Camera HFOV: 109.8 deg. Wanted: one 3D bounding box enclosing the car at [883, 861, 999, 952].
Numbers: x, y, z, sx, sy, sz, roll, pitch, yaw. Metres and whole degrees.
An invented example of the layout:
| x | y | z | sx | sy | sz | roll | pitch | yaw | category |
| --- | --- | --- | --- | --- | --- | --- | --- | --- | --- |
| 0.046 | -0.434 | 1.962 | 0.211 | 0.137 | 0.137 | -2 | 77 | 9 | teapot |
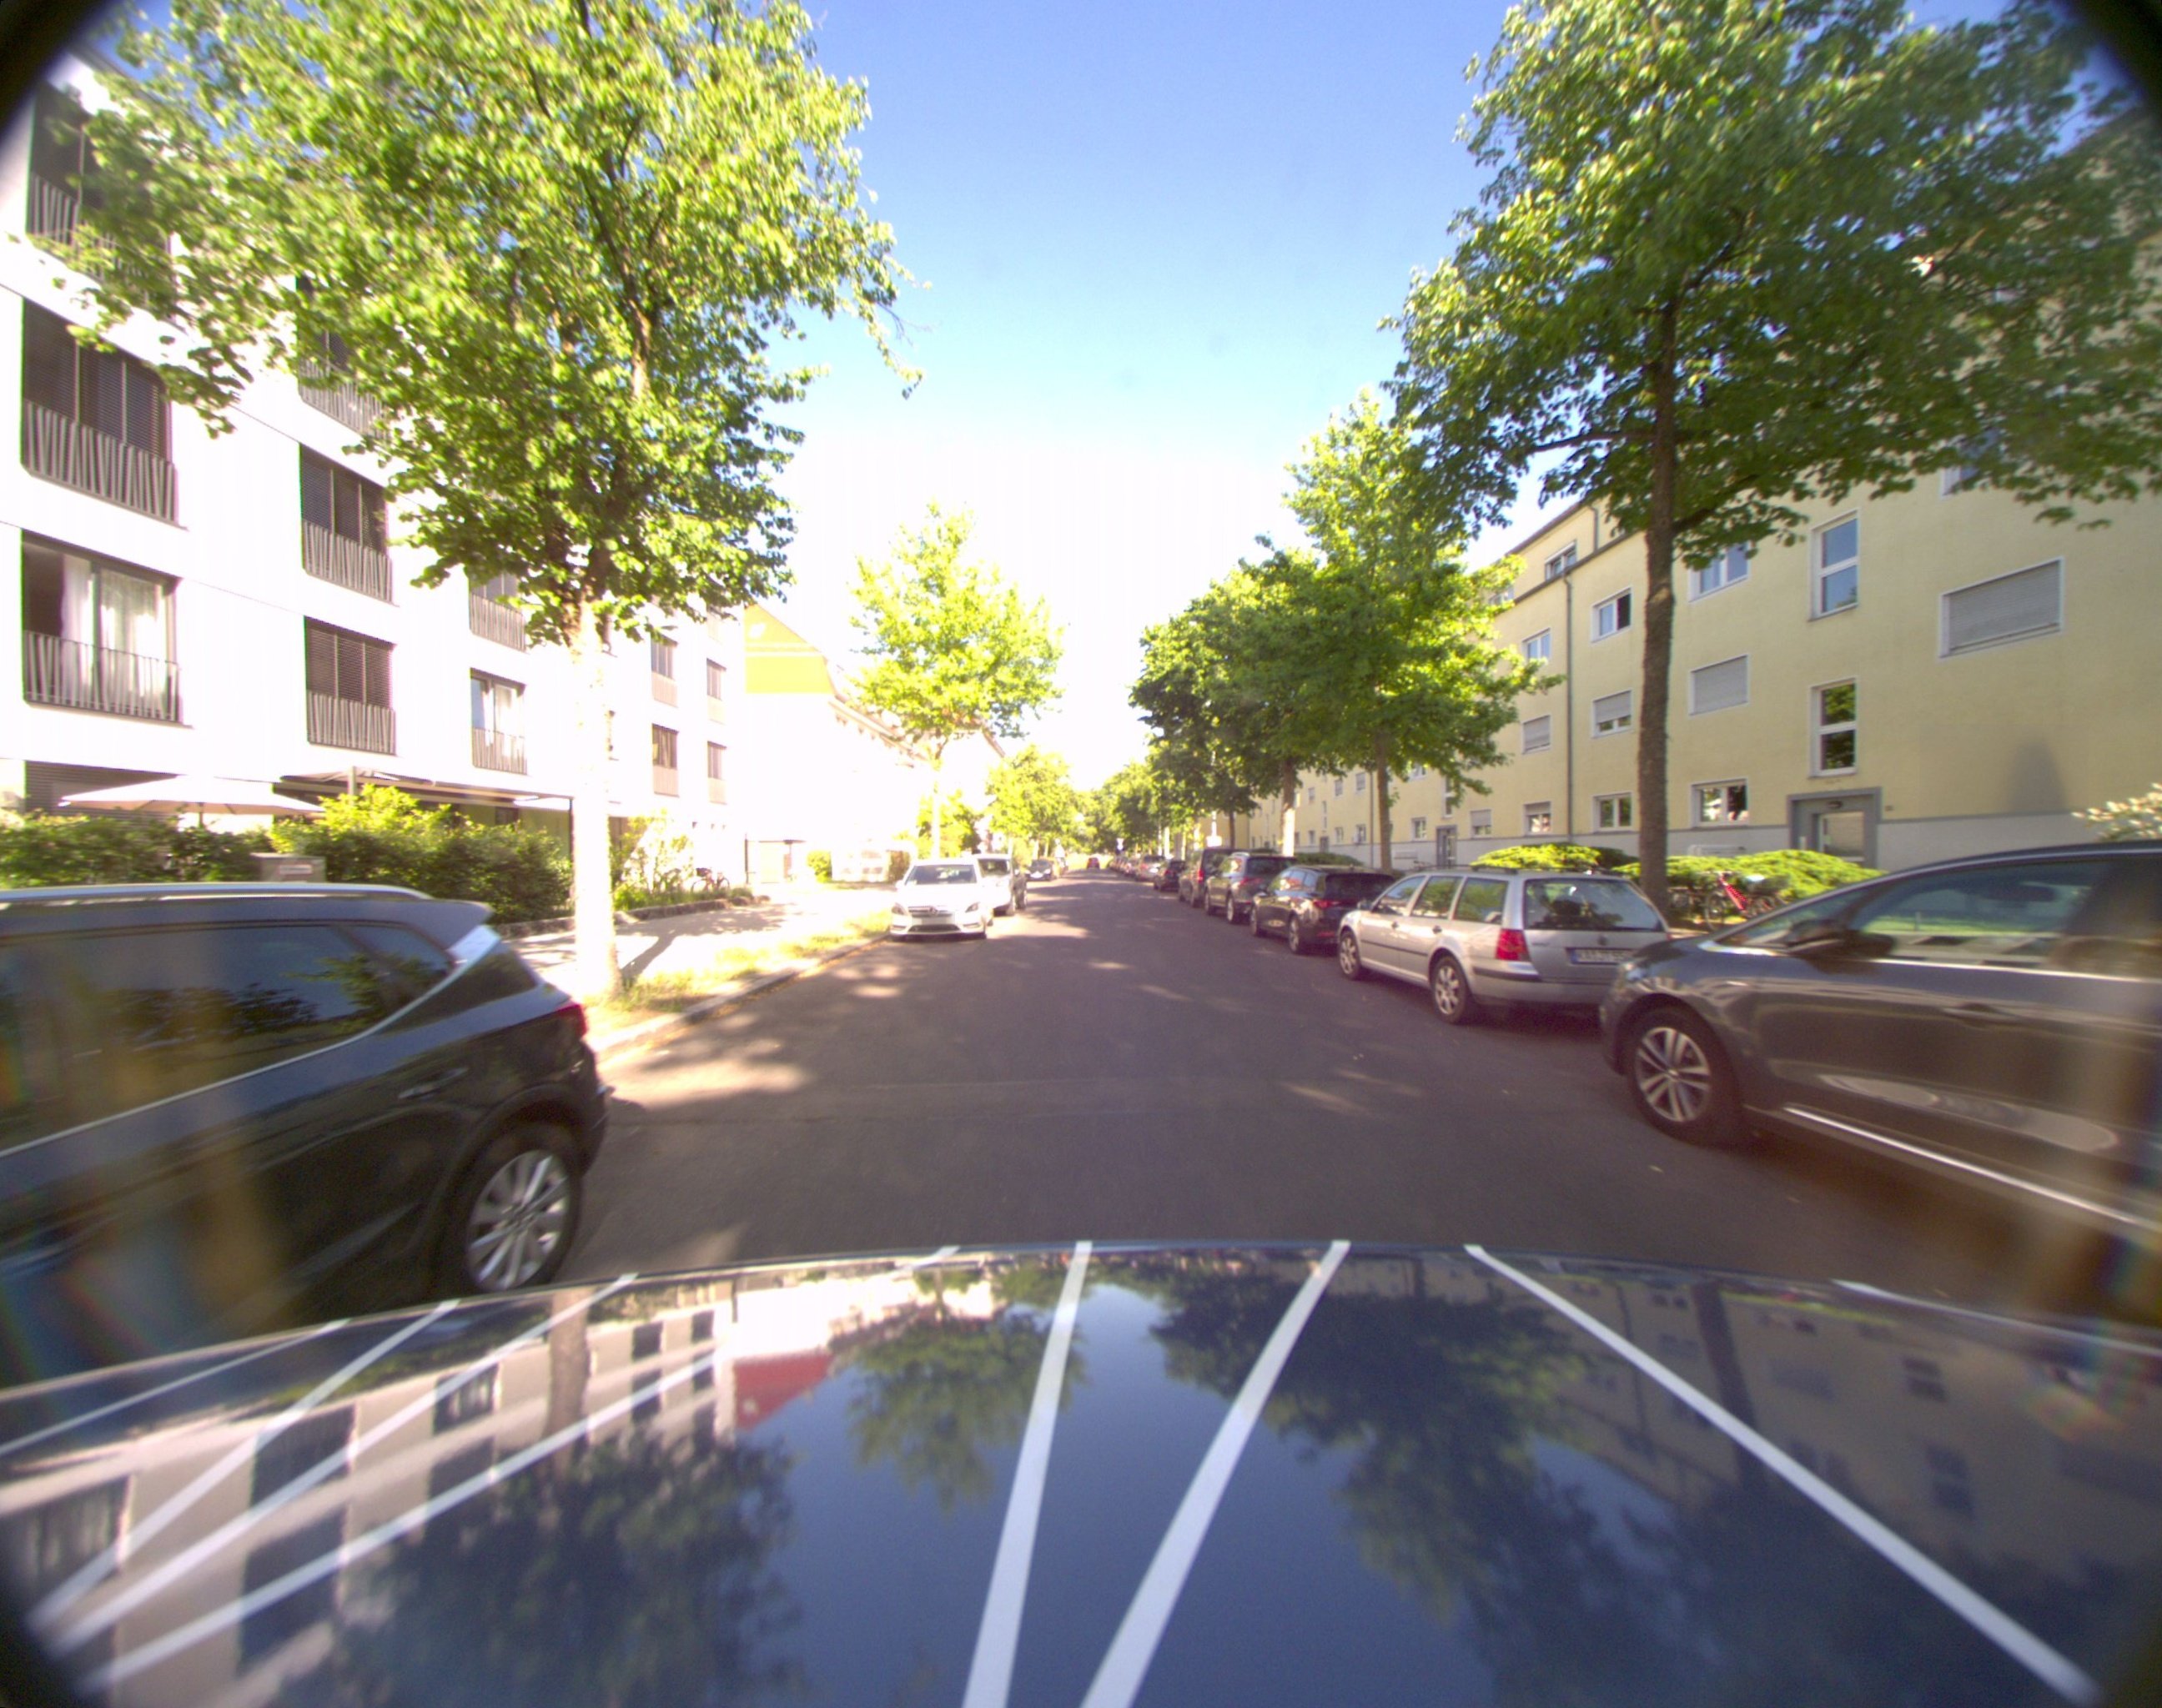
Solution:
| x | y | z | sx | sy | sz | roll | pitch | yaw | category |
| --- | --- | --- | --- | --- | --- | --- | --- | --- | --- |
| -2.702 | 0.933 | 15.656 | 1.786 | 1.509 | 4.685 | -1 | 0 | -4 | car |

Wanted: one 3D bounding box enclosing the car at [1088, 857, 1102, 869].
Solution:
| x | y | z | sx | sy | sz | roll | pitch | yaw | category |
| --- | --- | --- | --- | --- | --- | --- | --- | --- | --- |
| 1.721 | 1.091 | 93.409 | 1.665 | 1.456 | 3.447 | 0 | 0 | 2 | car |

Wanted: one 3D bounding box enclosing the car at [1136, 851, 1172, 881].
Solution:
| x | y | z | sx | sy | sz | roll | pitch | yaw | category |
| --- | --- | --- | --- | --- | --- | --- | --- | --- | --- |
| 4.453 | 0.710 | 46.601 | 1.864 | 1.718 | 4.000 | 1 | 0 | 1 | car |

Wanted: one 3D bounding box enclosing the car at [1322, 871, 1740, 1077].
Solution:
| x | y | z | sx | sy | sz | roll | pitch | yaw | category |
| --- | --- | --- | --- | --- | --- | --- | --- | --- | --- |
| 4.178 | 0.977 | 8.088 | 1.711 | 1.472 | 4.489 | 0 | 0 | -1 | car |

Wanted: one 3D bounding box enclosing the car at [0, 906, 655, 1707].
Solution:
| x | y | z | sx | sy | sz | roll | pitch | yaw | category |
| --- | --- | --- | --- | --- | --- | --- | --- | --- | --- |
| -2.839 | 1.010 | 1.262 | 1.722 | 1.507 | 4.345 | -1 | 0 | 1 | car |

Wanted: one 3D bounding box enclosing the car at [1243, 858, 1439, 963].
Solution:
| x | y | z | sx | sy | sz | roll | pitch | yaw | category |
| --- | --- | --- | --- | --- | --- | --- | --- | --- | --- |
| 4.203 | 0.822 | 13.109 | 1.798 | 1.443 | 4.489 | 0 | 0 | 0 | car |

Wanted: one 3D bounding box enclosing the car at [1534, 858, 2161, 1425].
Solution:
| x | y | z | sx | sy | sz | roll | pitch | yaw | category |
| --- | --- | --- | --- | --- | --- | --- | --- | --- | --- |
| 4.116 | 0.865 | 2.784 | 1.846 | 1.647 | 5.087 | 0 | 0 | 0 | car |

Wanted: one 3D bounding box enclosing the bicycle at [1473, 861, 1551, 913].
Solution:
| x | y | z | sx | sy | sz | roll | pitch | yaw | category |
| --- | --- | --- | --- | --- | --- | --- | --- | --- | --- |
| 10.571 | 0.777 | 18.732 | 0.596 | 1.183 | 2.260 | 0 | 0 | -1 | bicycle |

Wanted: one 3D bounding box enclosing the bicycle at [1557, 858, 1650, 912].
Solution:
| x | y | z | sx | sy | sz | roll | pitch | yaw | category |
| --- | --- | --- | --- | --- | --- | --- | --- | --- | --- |
| 12.310 | 0.730 | 17.920 | 1.826 | 1.218 | 0.517 | -1 | 1 | 1 | bicycle |

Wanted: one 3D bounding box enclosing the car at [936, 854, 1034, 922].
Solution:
| x | y | z | sx | sy | sz | roll | pitch | yaw | category |
| --- | --- | --- | --- | --- | --- | --- | --- | --- | --- |
| -2.553 | 0.858 | 21.420 | 1.901 | 1.638 | 4.862 | -1 | 0 | 2 | car |

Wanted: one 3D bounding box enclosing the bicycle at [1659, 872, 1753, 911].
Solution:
| x | y | z | sx | sy | sz | roll | pitch | yaw | category |
| --- | --- | --- | --- | --- | --- | --- | --- | --- | --- |
| 14.584 | 0.864 | 17.755 | 1.713 | 0.864 | 0.585 | -1 | 1 | 1 | bicycle |

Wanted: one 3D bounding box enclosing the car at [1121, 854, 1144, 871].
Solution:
| x | y | z | sx | sy | sz | roll | pitch | yaw | category |
| --- | --- | --- | --- | --- | --- | --- | --- | --- | --- |
| 4.835 | 0.792 | 71.756 | 1.805 | 1.470 | 3.999 | 0 | 0 | -3 | car |

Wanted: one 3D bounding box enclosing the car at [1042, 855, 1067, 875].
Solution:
| x | y | z | sx | sy | sz | roll | pitch | yaw | category |
| --- | --- | --- | --- | --- | --- | --- | --- | --- | --- |
| -2.034 | 0.817 | 58.713 | 1.670 | 1.456 | 3.674 | 0 | 0 | 2 | car |

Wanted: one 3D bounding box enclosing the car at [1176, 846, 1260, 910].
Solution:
| x | y | z | sx | sy | sz | roll | pitch | yaw | category |
| --- | --- | --- | --- | --- | --- | --- | --- | --- | --- |
| 4.244 | 0.679 | 24.235 | 1.798 | 1.839 | 4.866 | 0 | 0 | 0 | car |

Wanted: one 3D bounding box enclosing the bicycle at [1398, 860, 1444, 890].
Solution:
| x | y | z | sx | sy | sz | roll | pitch | yaw | category |
| --- | --- | --- | --- | --- | --- | --- | --- | --- | --- |
| 11.070 | 0.675 | 24.815 | 0.596 | 0.911 | 1.903 | 0 | 0 | -1 | bicycle |

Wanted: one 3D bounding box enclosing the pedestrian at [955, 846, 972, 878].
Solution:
| x | y | z | sx | sy | sz | roll | pitch | yaw | category |
| --- | --- | --- | --- | --- | --- | --- | --- | --- | --- |
| -7.499 | 0.492 | 48.687 | 0.907 | 2.002 | 1.006 | 0 | 1 | 1 | pedestrian |

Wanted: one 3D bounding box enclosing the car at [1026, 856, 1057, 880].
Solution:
| x | y | z | sx | sy | sz | roll | pitch | yaw | category |
| --- | --- | --- | --- | --- | --- | --- | --- | --- | --- |
| -2.481 | 0.888 | 48.459 | 1.670 | 1.456 | 3.536 | 0 | 0 | 2 | car |

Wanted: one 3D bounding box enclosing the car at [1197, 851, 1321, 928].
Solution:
| x | y | z | sx | sy | sz | roll | pitch | yaw | category |
| --- | --- | --- | --- | --- | --- | --- | --- | --- | --- |
| 4.220 | 0.768 | 18.812 | 1.798 | 1.676 | 4.525 | 0 | 0 | -3 | car |

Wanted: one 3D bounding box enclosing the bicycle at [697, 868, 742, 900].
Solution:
| x | y | z | sx | sy | sz | roll | pitch | yaw | category |
| --- | --- | --- | --- | --- | --- | --- | --- | --- | --- |
| -10.927 | 0.885 | 23.043 | 0.564 | 0.889 | 1.609 | 0 | 0 | 1 | bicycle |

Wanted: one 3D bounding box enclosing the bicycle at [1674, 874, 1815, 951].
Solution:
| x | y | z | sx | sy | sz | roll | pitch | yaw | category |
| --- | --- | --- | --- | --- | --- | --- | --- | --- | --- |
| 10.454 | 0.882 | 12.076 | 0.573 | 1.055 | 1.933 | -1 | 1 | 1 | bicycle |

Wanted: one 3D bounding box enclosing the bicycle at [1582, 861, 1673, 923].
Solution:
| x | y | z | sx | sy | sz | roll | pitch | yaw | category |
| --- | --- | --- | --- | --- | --- | --- | --- | --- | --- |
| 11.306 | 0.768 | 15.723 | 1.640 | 1.218 | 0.517 | -1 | 1 | -9 | bicycle |

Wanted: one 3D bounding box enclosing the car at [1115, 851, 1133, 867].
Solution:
| x | y | z | sx | sy | sz | roll | pitch | yaw | category |
| --- | --- | --- | --- | --- | --- | --- | --- | --- | --- |
| 4.602 | 0.519 | 82.092 | 1.713 | 1.752 | 3.712 | 0 | 1 | 0 | car |

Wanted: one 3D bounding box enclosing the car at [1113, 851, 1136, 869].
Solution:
| x | y | z | sx | sy | sz | roll | pitch | yaw | category |
| --- | --- | --- | --- | --- | --- | --- | --- | --- | --- |
| 4.369 | 0.587 | 77.181 | 1.891 | 1.797 | 3.913 | 0 | 0 | -4 | car |

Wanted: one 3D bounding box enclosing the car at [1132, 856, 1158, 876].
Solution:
| x | y | z | sx | sy | sz | roll | pitch | yaw | category |
| --- | --- | --- | --- | --- | --- | --- | --- | --- | --- |
| 4.661 | 0.864 | 55.803 | 1.606 | 1.382 | 3.812 | 0 | 0 | 0 | car |

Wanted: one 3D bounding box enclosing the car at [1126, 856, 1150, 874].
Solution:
| x | y | z | sx | sy | sz | roll | pitch | yaw | category |
| --- | --- | --- | --- | --- | --- | --- | --- | --- | --- |
| 4.466 | 0.856 | 60.290 | 1.606 | 1.382 | 3.812 | 0 | 0 | 0 | car |

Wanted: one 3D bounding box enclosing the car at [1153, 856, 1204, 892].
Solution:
| x | y | z | sx | sy | sz | roll | pitch | yaw | category |
| --- | --- | --- | --- | --- | --- | --- | --- | --- | --- |
| 4.403 | 0.885 | 34.824 | 1.780 | 1.462 | 4.063 | 2 | 0 | 1 | car |

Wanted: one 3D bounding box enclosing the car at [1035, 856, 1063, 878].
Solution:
| x | y | z | sx | sy | sz | roll | pitch | yaw | category |
| --- | --- | --- | --- | --- | --- | --- | --- | --- | --- |
| -2.196 | 0.878 | 53.238 | 1.670 | 1.456 | 3.536 | 0 | 0 | 2 | car |

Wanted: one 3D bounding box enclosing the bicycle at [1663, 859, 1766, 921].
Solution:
| x | y | z | sx | sy | sz | roll | pitch | yaw | category |
| --- | --- | --- | --- | --- | --- | --- | --- | --- | --- |
| 13.056 | 0.735 | 15.682 | 1.638 | 1.218 | 0.590 | -1 | 1 | 0 | bicycle |

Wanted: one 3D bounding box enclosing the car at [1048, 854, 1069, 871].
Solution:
| x | y | z | sx | sy | sz | roll | pitch | yaw | category |
| --- | --- | --- | --- | --- | --- | --- | --- | --- | --- |
| -2.044 | 0.784 | 68.569 | 1.670 | 1.456 | 3.536 | 0 | 0 | 2 | car |

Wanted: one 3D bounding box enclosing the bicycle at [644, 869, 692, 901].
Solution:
| x | y | z | sx | sy | sz | roll | pitch | yaw | category |
| --- | --- | --- | --- | --- | --- | --- | --- | --- | --- |
| -12.483 | 0.915 | 23.008 | 0.564 | 0.889 | 1.609 | 0 | 0 | 1 | bicycle |

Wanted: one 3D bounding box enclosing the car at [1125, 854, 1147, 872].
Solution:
| x | y | z | sx | sy | sz | roll | pitch | yaw | category |
| --- | --- | --- | --- | --- | --- | --- | --- | --- | --- |
| 4.770 | 0.759 | 65.986 | 1.606 | 1.463 | 3.812 | 0 | 0 | 0 | car |
